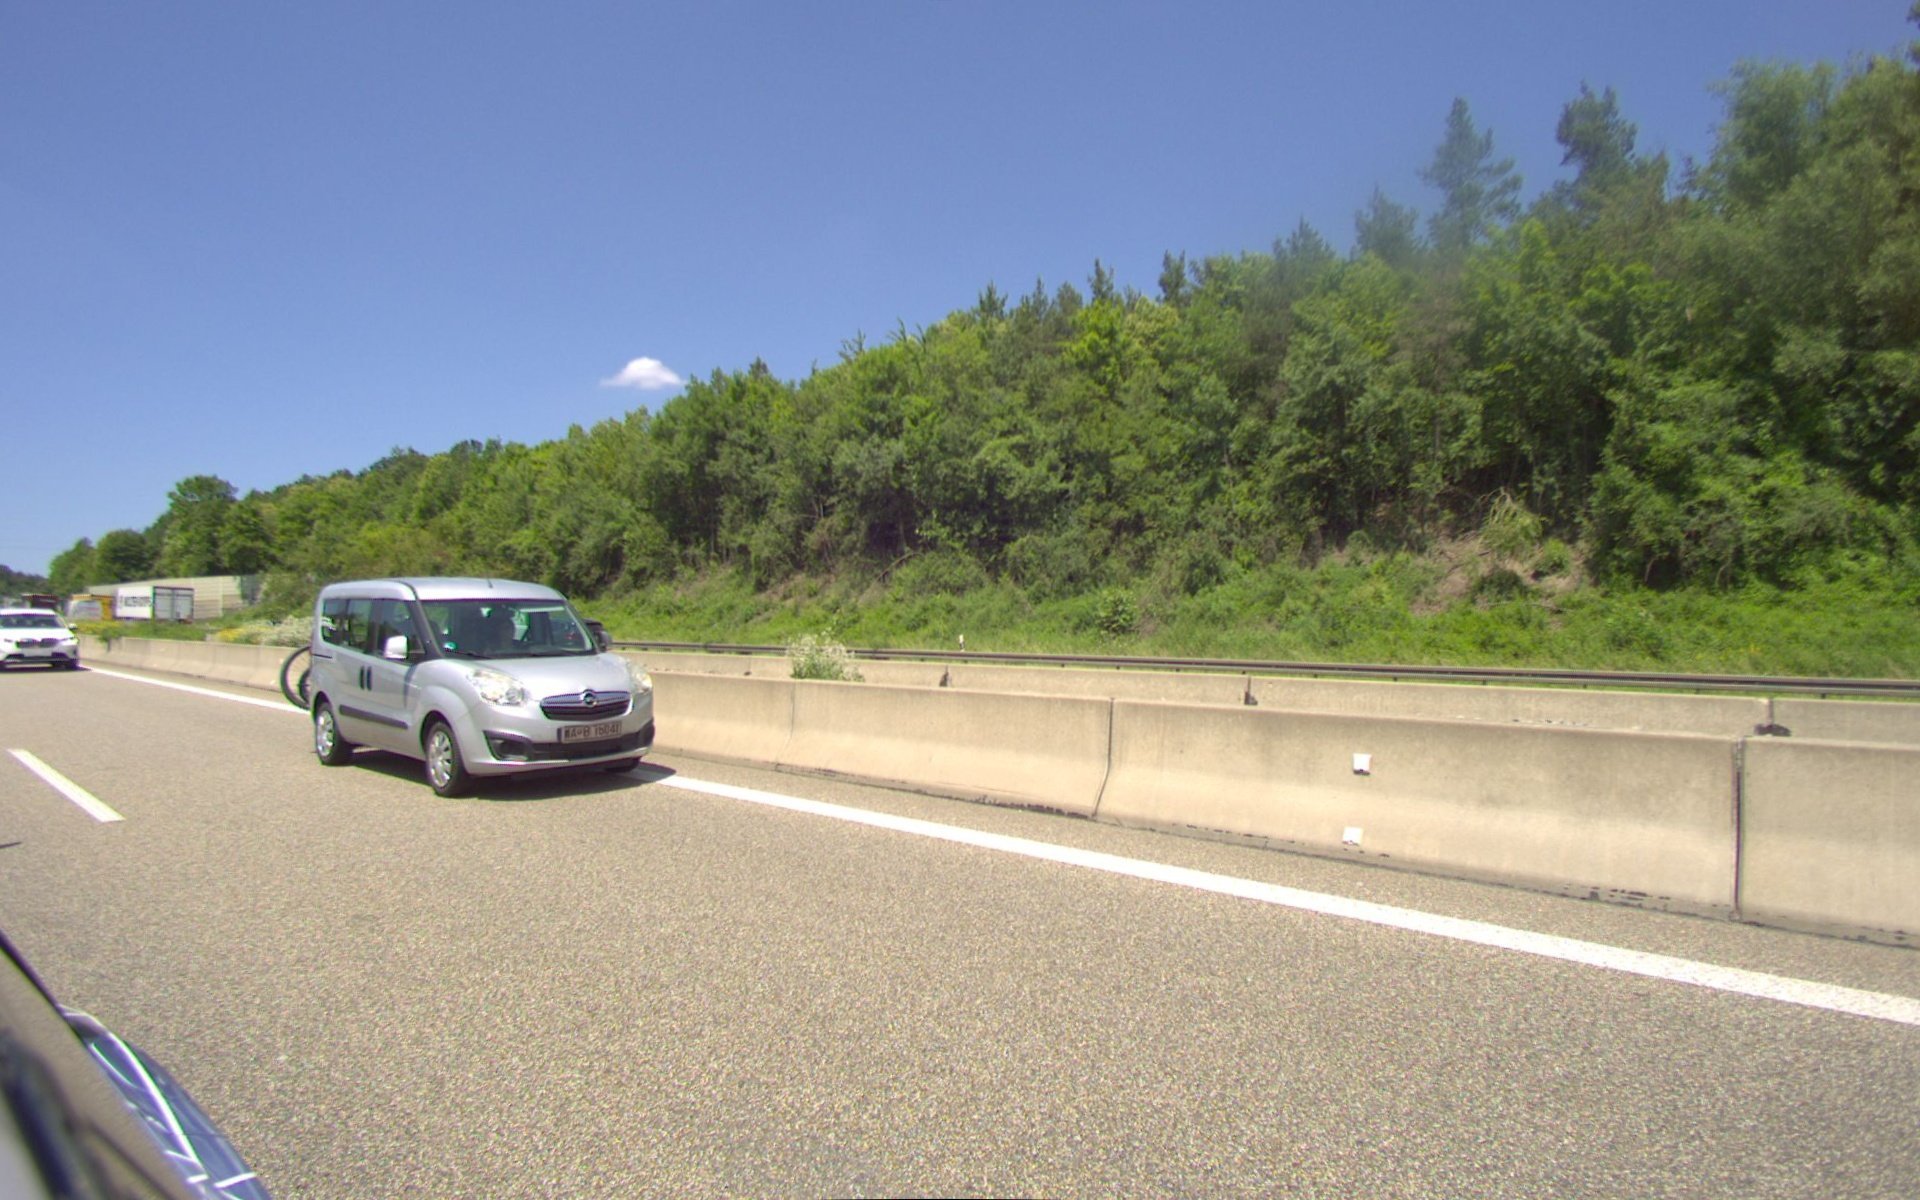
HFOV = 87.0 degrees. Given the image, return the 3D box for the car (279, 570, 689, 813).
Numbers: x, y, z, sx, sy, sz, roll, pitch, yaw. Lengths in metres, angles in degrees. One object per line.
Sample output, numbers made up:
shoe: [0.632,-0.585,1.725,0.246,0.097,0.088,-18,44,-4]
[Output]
car: [-4.791,0.662,9.772,4.917,1.786,1.833,0,0,42]

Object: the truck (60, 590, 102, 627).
truck: [-111.628,1.070,128.508,7.091,4.579,3.059,0,0,41]

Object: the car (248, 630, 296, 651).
car: [-48.227,2.830,70.918,4.001,1.344,1.971,-1,-1,44]

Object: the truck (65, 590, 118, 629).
truck: [-106.208,1.070,123.692,14.094,4.579,3.059,0,0,42]

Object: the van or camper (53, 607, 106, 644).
van or camper: [-73.929,2.094,84.933,6.707,2.897,2.370,0,0,40]

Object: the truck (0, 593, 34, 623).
truck: [-155.803,1.417,166.865,14.093,4.580,3.235,-2,-1,42]

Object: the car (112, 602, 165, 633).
car: [-54.899,1.144,67.631,3.996,2.029,1.974,0,0,39]

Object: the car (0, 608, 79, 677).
car: [-25.556,1.108,27.607,3.998,1.719,1.800,0,0,41]

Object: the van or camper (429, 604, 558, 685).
van or camper: [-15.189,1.404,32.838,4.809,2.403,1.972,0,-5,43]

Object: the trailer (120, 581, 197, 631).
trailer: [-65.707,0.457,82.818,11.395,3.901,2.966,0,0,41]

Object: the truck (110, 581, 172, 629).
truck: [-70.377,0.410,86.914,7.212,3.949,2.909,0,0,41]

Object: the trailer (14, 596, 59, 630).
trailer: [-118.360,1.638,129.625,7.894,4.226,3.399,0,0,41]
